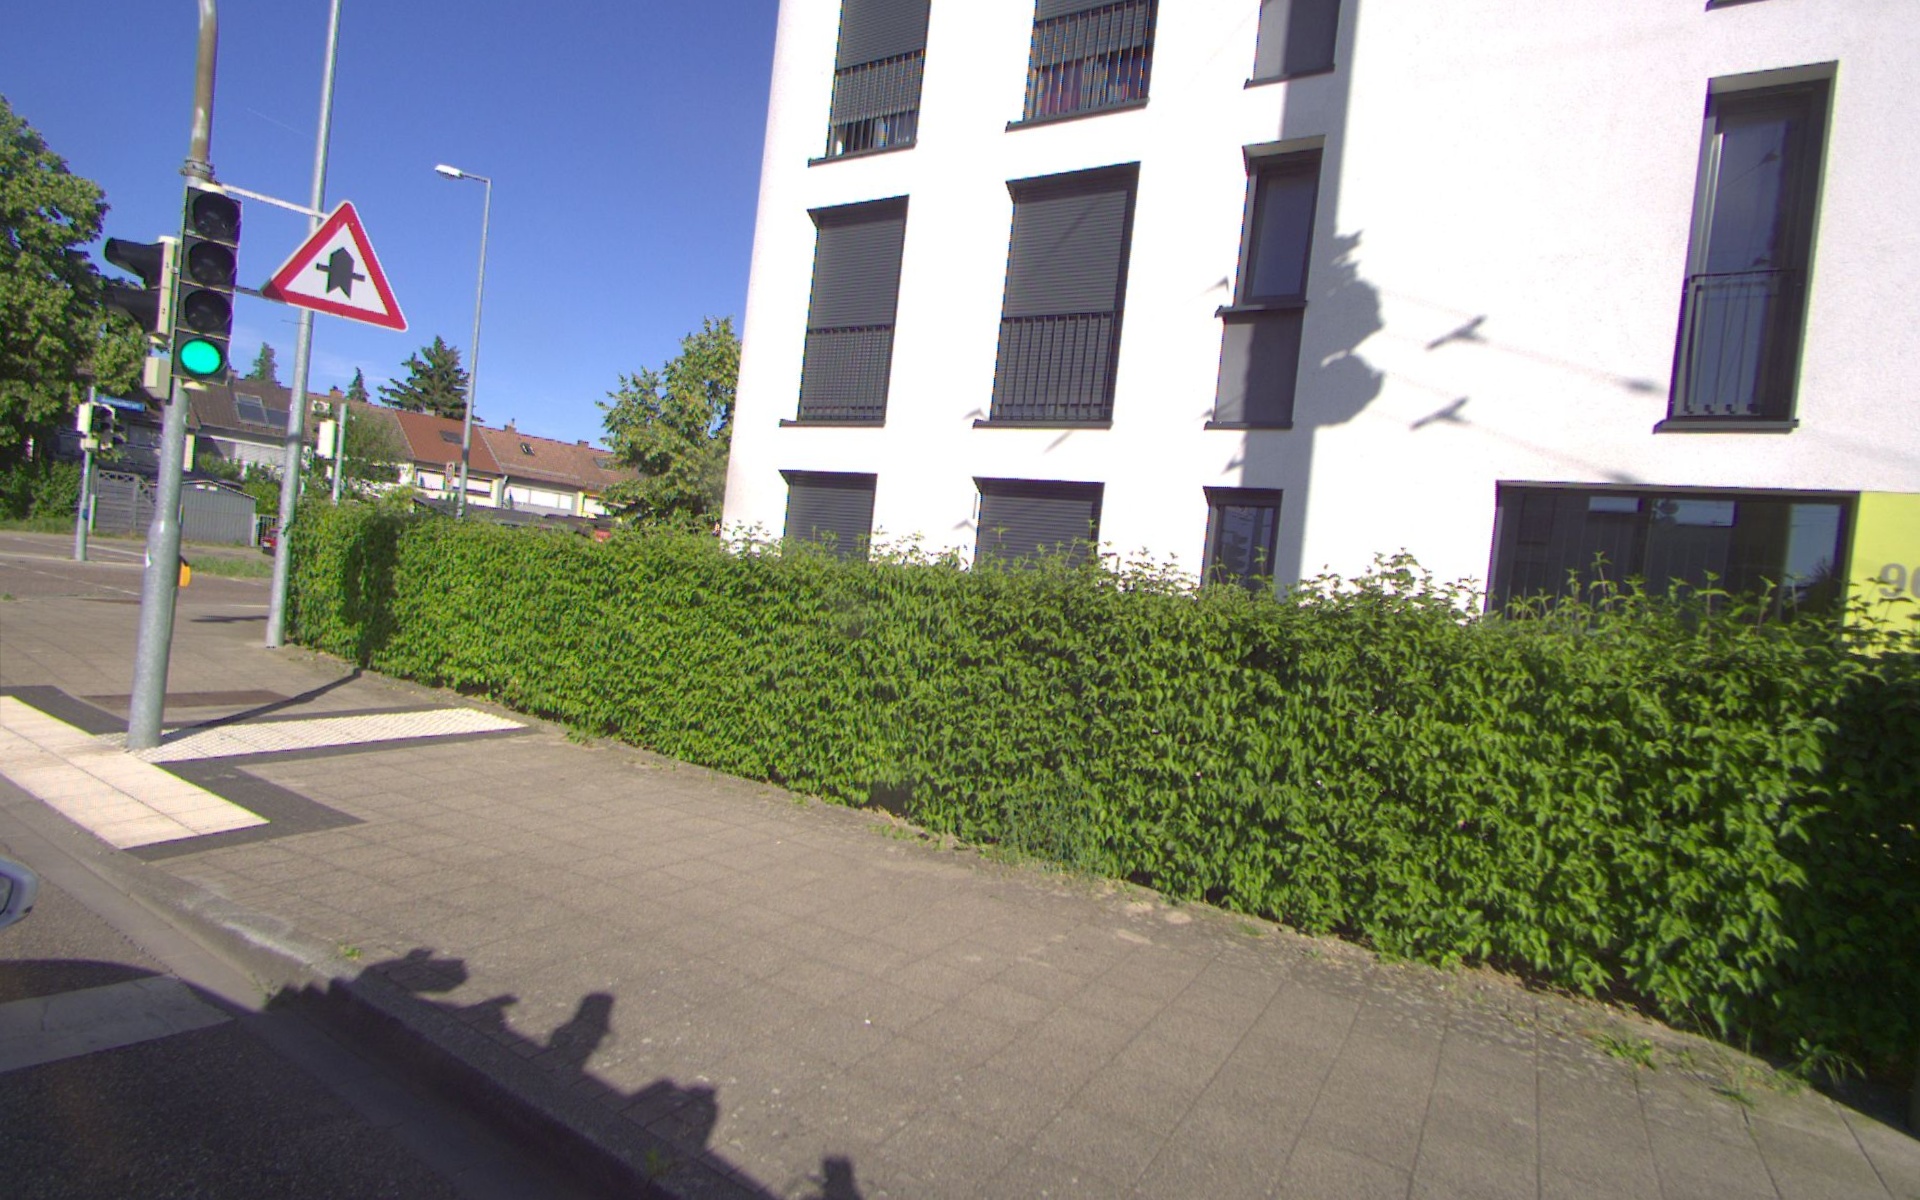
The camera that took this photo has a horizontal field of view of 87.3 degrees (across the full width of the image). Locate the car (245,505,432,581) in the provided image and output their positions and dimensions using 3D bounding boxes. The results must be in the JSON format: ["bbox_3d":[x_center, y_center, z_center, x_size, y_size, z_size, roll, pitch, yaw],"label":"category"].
[{"bbox_3d":[-18.067,-1.626,29.399,1.917,1.608,4.164,8,1,38],"label":"car"}]
